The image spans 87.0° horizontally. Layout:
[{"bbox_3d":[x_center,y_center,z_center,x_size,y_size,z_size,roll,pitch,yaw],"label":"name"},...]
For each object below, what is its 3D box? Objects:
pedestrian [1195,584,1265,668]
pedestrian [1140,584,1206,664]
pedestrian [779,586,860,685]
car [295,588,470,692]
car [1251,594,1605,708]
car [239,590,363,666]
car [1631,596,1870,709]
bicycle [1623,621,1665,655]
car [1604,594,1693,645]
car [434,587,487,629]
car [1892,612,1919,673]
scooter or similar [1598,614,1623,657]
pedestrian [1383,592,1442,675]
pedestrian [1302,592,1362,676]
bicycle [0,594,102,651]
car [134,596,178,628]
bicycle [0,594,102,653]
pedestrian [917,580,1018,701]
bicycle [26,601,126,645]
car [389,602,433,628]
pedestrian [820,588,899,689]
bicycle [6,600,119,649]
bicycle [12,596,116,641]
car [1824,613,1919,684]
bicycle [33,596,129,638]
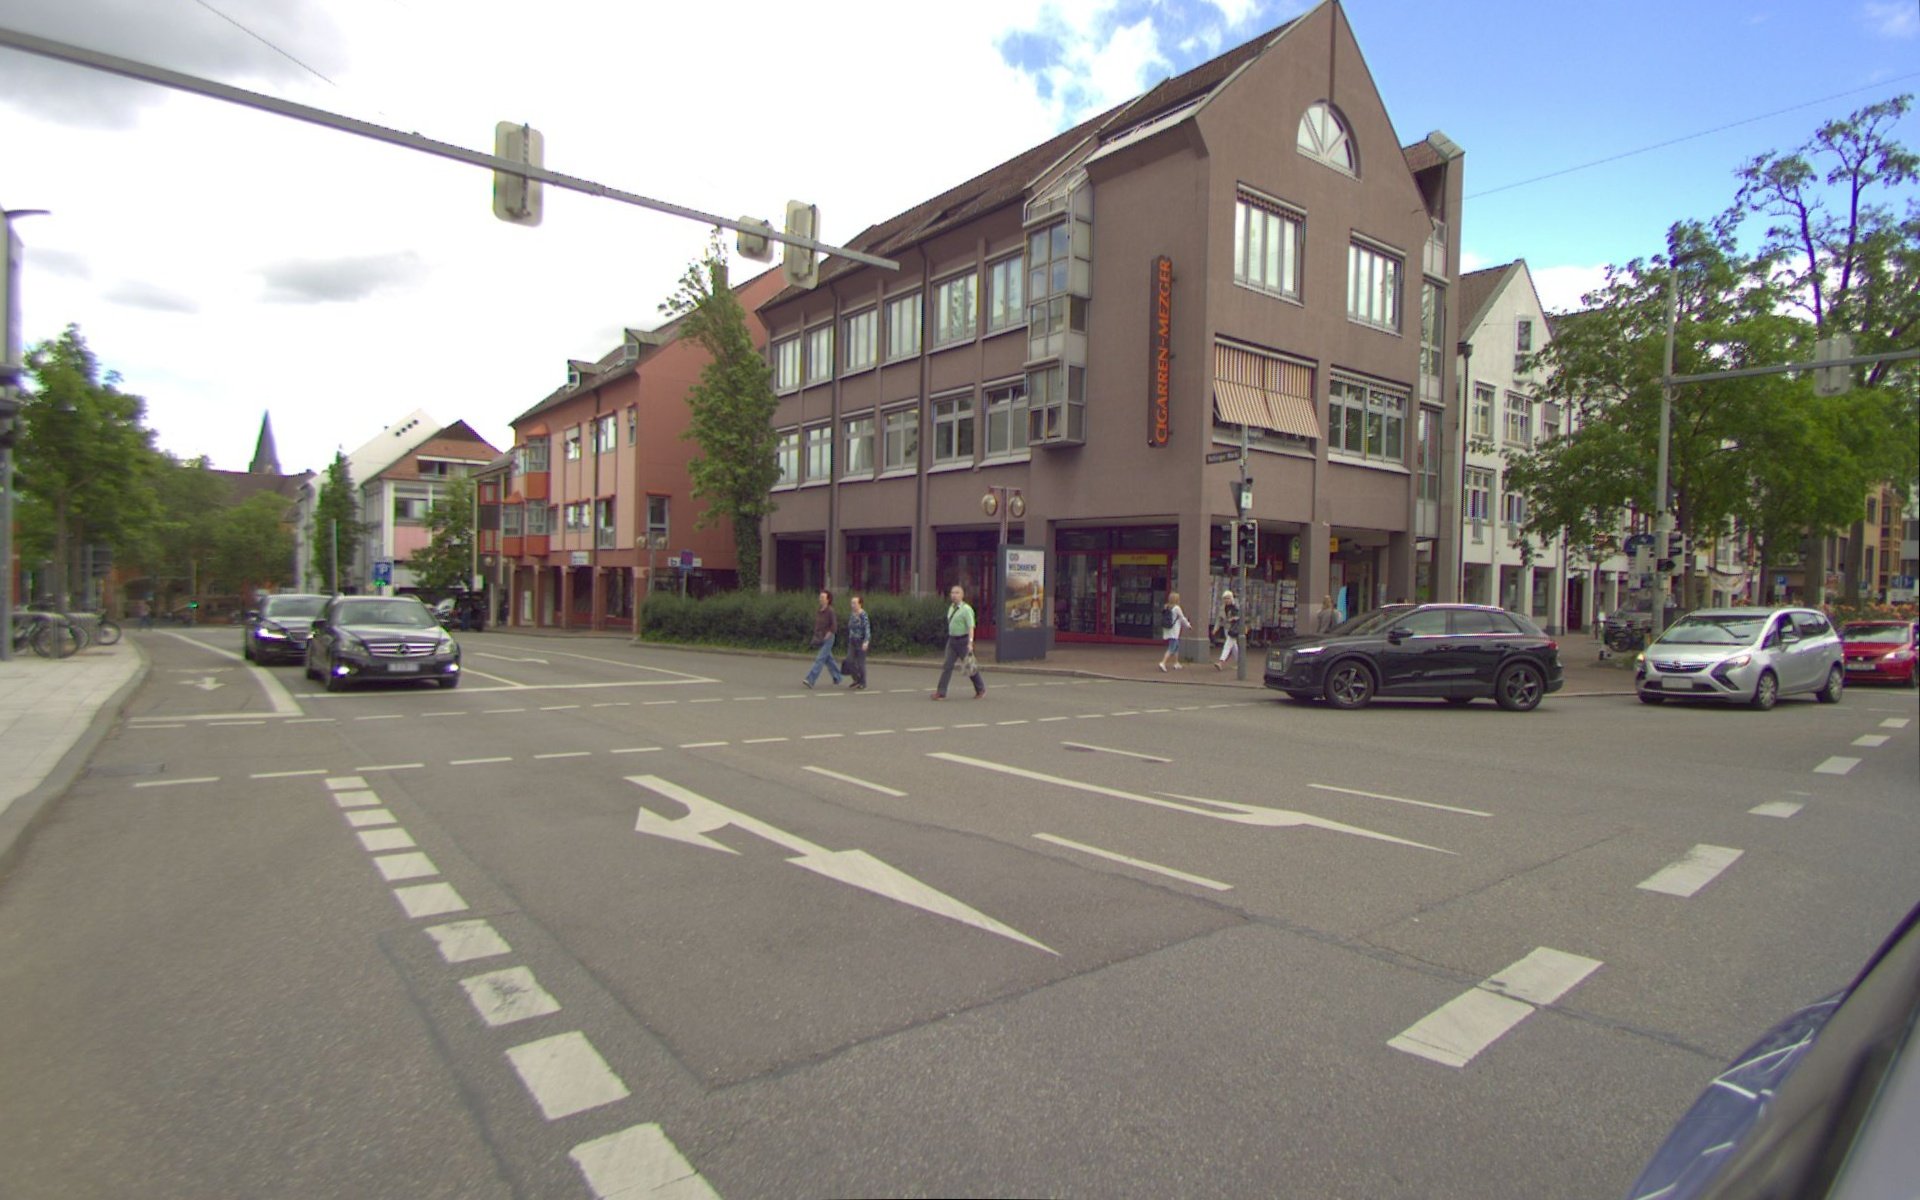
[{"bbox_3d":[5.544,0.526,20.771,1.071,1.646,0.812,2,0,-28],"label":"pedestrian"},{"bbox_3d":[4.454,0.495,21.168,1.018,1.615,0.825,1,0,-30],"label":"pedestrian"},{"bbox_3d":[-2.368,0.581,17.100,1.040,1.604,0.831,1,0,-40],"label":"pedestrian"},{"bbox_3d":[-9.365,0.552,16.263,1.768,1.422,4.182,1,0,-39],"label":"car"},{"bbox_3d":[7.255,0.778,15.951,4.763,1.630,1.859,1,-1,-6],"label":"car"},{"bbox_3d":[-14.254,0.536,21.778,1.768,1.422,4.545,1,0,-39],"label":"car"},{"bbox_3d":[13.572,0.840,17.330,4.293,1.723,1.746,1,-1,-30],"label":"car"},{"bbox_3d":[22.913,1.269,33.915,0.399,1.061,1.567,2,1,5],"label":"bicycle"},{"bbox_3d":[26.880,0.750,39.474,4.184,1.826,1.738,1,1,-40],"label":"car"},{"bbox_3d":[-25.511,0.416,51.642,1.693,2.040,3.739,3,-2,-36],"label":"car"},{"bbox_3d":[26.161,1.110,26.655,3.927,1.550,1.801,1,-1,-39],"label":"car"},{"bbox_3d":[18.056,0.961,28.059,0.468,1.101,1.864,2,1,35],"label":"scooter or similar"},{"bbox_3d":[9.352,0.686,20.901,0.936,1.646,0.743,2,1,-40],"label":"pedestrian"},{"bbox_3d":[7.646,0.680,20.786,0.936,1.646,0.743,2,1,-40],"label":"pedestrian"},{"bbox_3d":[-18.829,0.458,20.642,1.955,1.115,0.720,1,1,-38],"label":"bicycle"},{"bbox_3d":[-44.366,0.651,55.836,1.768,1.675,4.456,2,0,-39],"label":"car"},{"bbox_3d":[-18.184,0.457,19.887,1.955,1.115,0.720,1,1,-38],"label":"bicycle"},{"bbox_3d":[0.107,0.589,15.363,1.089,1.737,1.059,1,0,-38],"label":"pedestrian"},{"bbox_3d":[-23.693,0.609,27.180,1.955,1.115,0.720,1,1,-38],"label":"bicycle"},{"bbox_3d":[-31.921,0.872,58.812,1.693,1.412,3.739,3,-2,-36],"label":"car"},{"bbox_3d":[-1.643,0.608,16.516,0.951,1.578,0.832,1,0,-38],"label":"pedestrian"},{"bbox_3d":[-21.514,0.587,24.325,1.955,1.115,0.720,1,1,-38],"label":"bicycle"},{"bbox_3d":[-23.123,0.477,26.169,1.955,1.115,0.720,1,1,-38],"label":"bicycle"},{"bbox_3d":[21.058,1.056,22.846,3.574,1.467,1.631,1,-1,-37],"label":"car"},{"bbox_3d":[-24.449,0.483,28.191,1.955,1.115,0.720,1,1,-38],"label":"bicycle"}]
